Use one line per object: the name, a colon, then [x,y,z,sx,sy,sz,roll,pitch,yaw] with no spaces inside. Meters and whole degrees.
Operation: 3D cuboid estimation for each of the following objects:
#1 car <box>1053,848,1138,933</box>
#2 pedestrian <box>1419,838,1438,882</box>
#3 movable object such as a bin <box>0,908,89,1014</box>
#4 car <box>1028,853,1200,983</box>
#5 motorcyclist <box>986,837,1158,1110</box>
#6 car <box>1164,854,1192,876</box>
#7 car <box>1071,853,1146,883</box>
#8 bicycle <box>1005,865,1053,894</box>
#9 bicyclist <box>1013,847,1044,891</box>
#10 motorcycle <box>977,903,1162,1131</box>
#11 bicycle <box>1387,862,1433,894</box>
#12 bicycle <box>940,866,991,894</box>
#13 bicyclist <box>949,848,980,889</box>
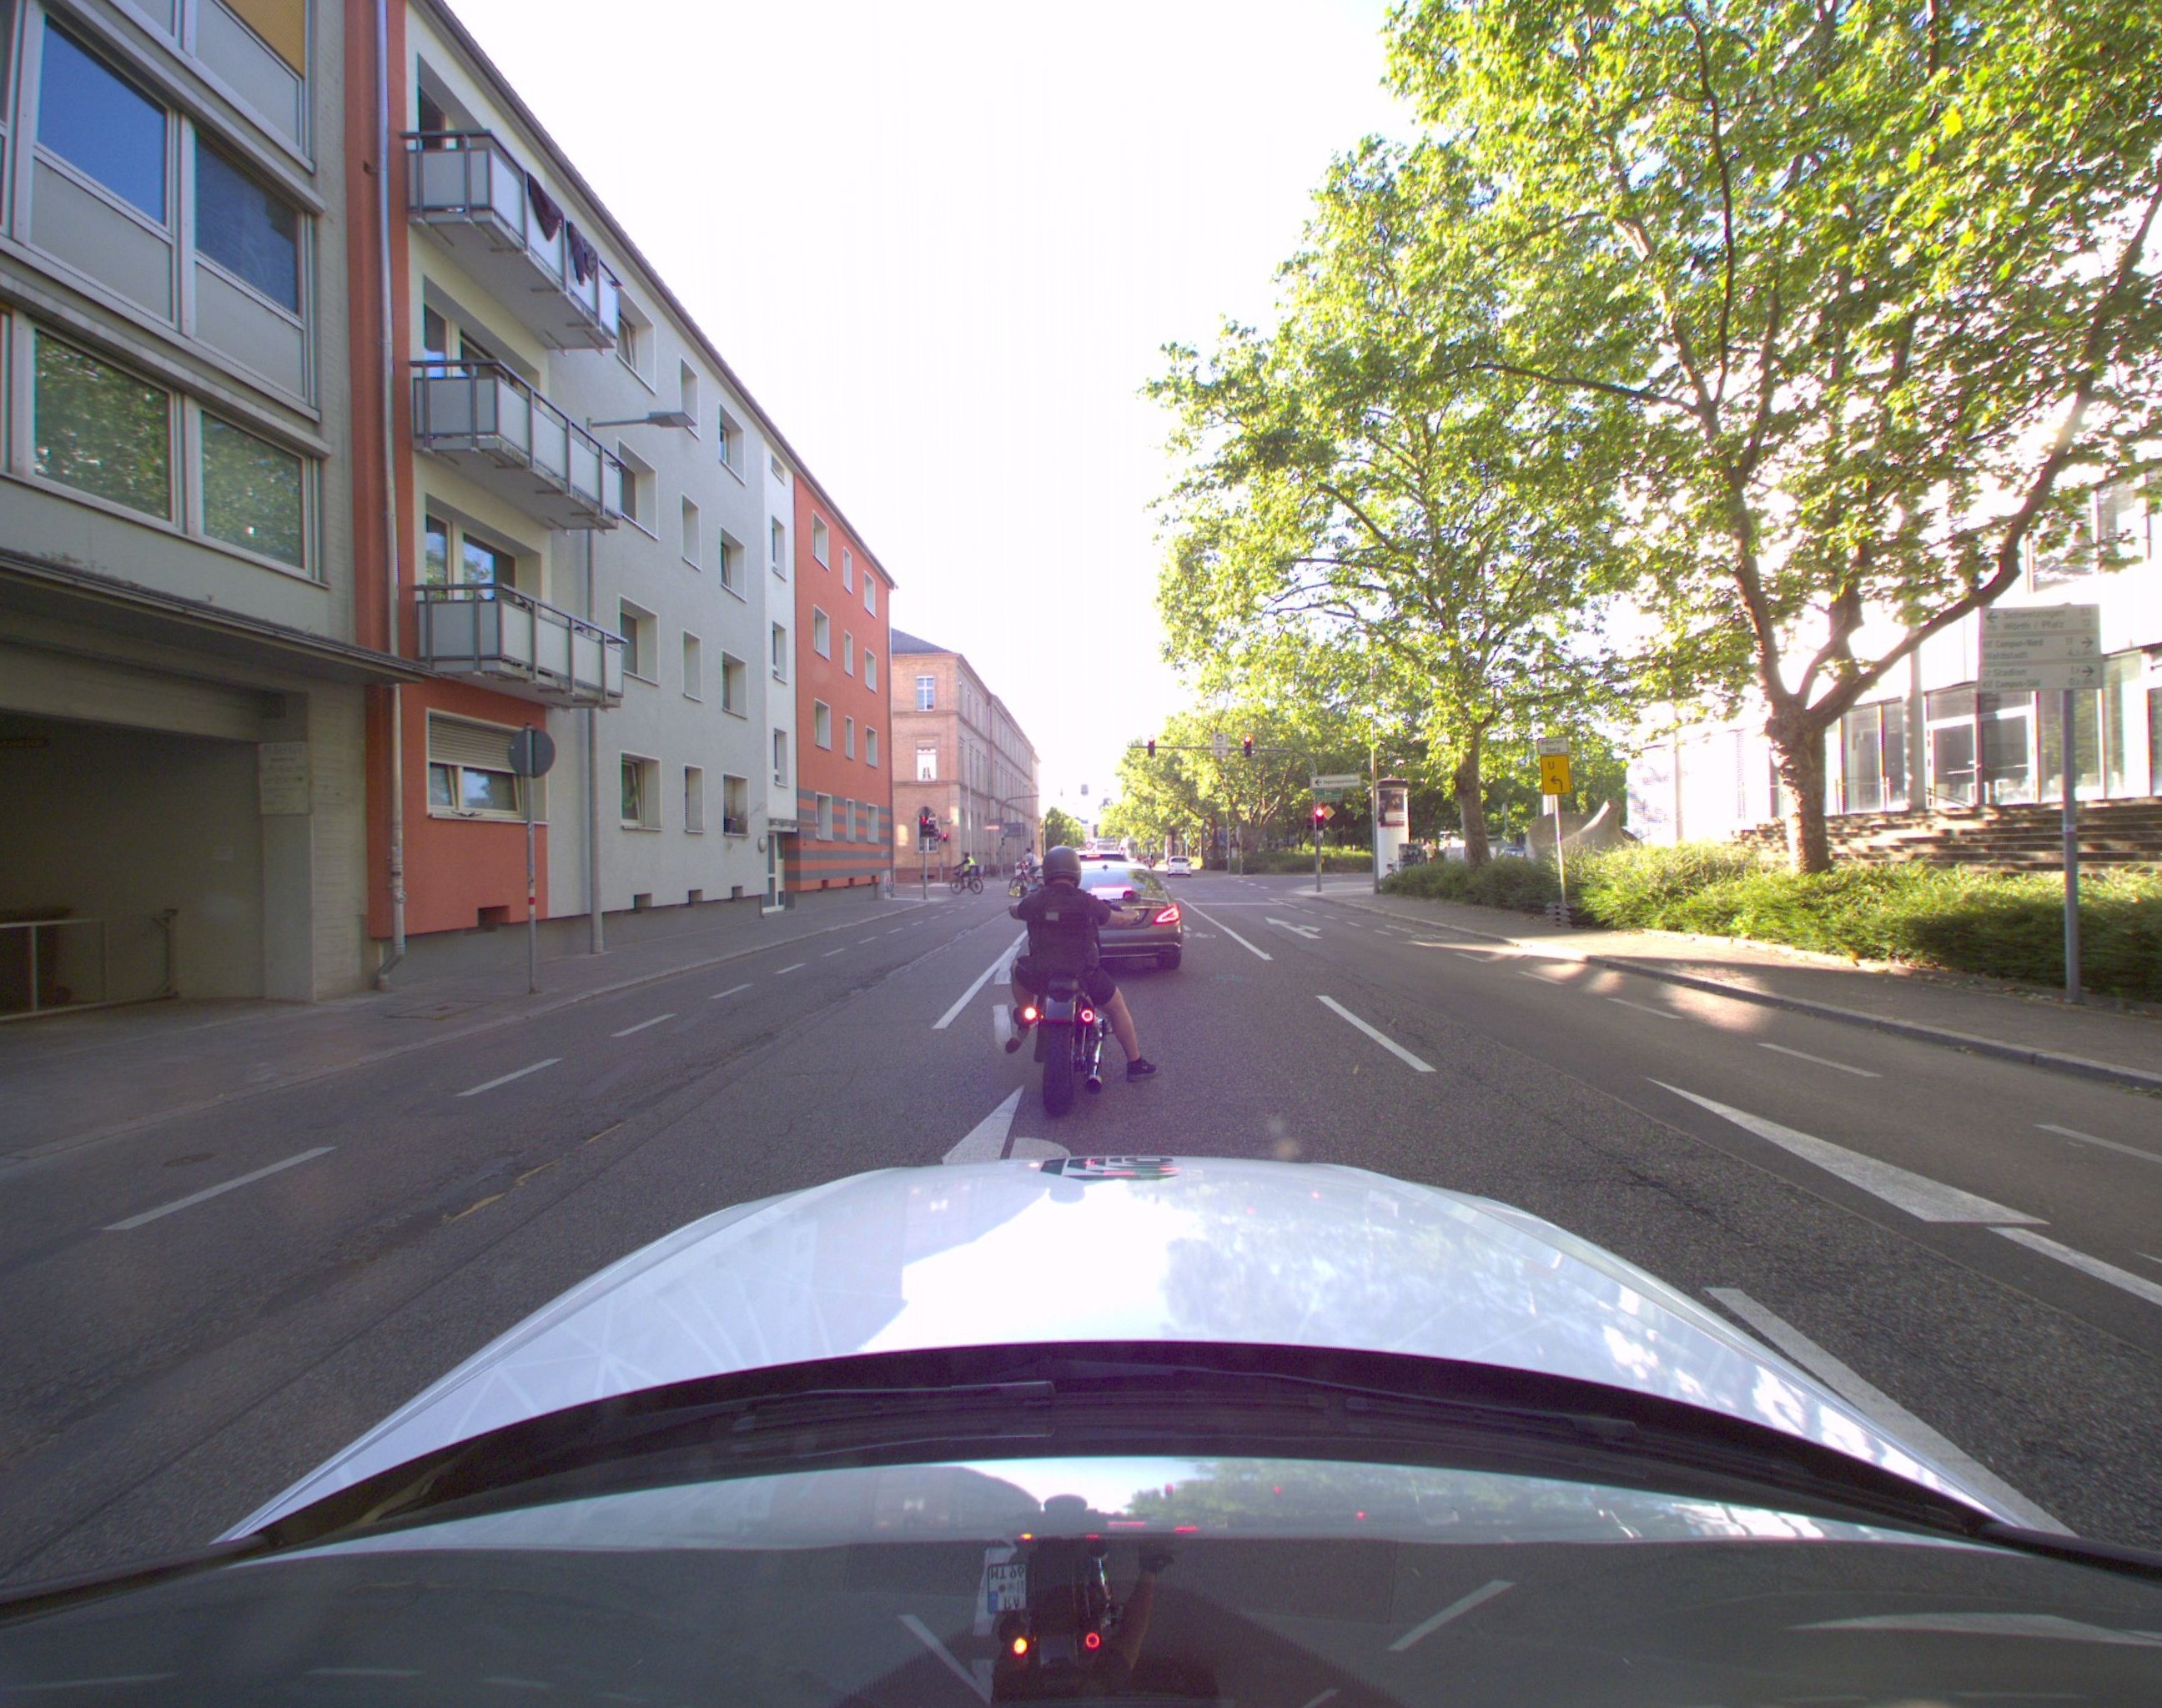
car: [0.325,0.713,17.890,1.606,1.607,4.329,-1,0,1]
pedestrian: [14.852,0.243,34.791,0.549,1.849,0.594,-1,0,3]
movable object such as a bin: [-11.313,1.123,8.683,0.593,1.041,0.703,0,-1,1]
car: [0.260,0.750,11.720,1.943,1.473,4.355,-1,0,-5]
motorcyclist: [-0.033,0.706,5.529,0.986,1.597,1.404,-1,0,2]
car: [6.747,0.743,56.544,1.846,1.486,3.915,0,-1,6]
car: [1.579,0.785,45.385,3.929,1.481,1.806,-2,-1,-40]
bicycle: [-2.042,1.010,31.988,1.855,1.103,0.710,-2,0,38]
bicyclist: [-2.075,0.573,32.004,0.952,1.692,0.710,-2,0,37]
motorcycle: [-0.024,0.966,5.682,0.986,1.078,2.453,-1,0,2]
bicycle: [11.039,0.797,27.341,1.346,1.023,0.363,-1,0,2]
bicycle: [-4.907,1.101,34.647,2.135,1.103,0.710,-3,-1,31]
bicyclist: [-4.942,0.614,34.662,1.034,1.695,0.710,-3,-1,31]
